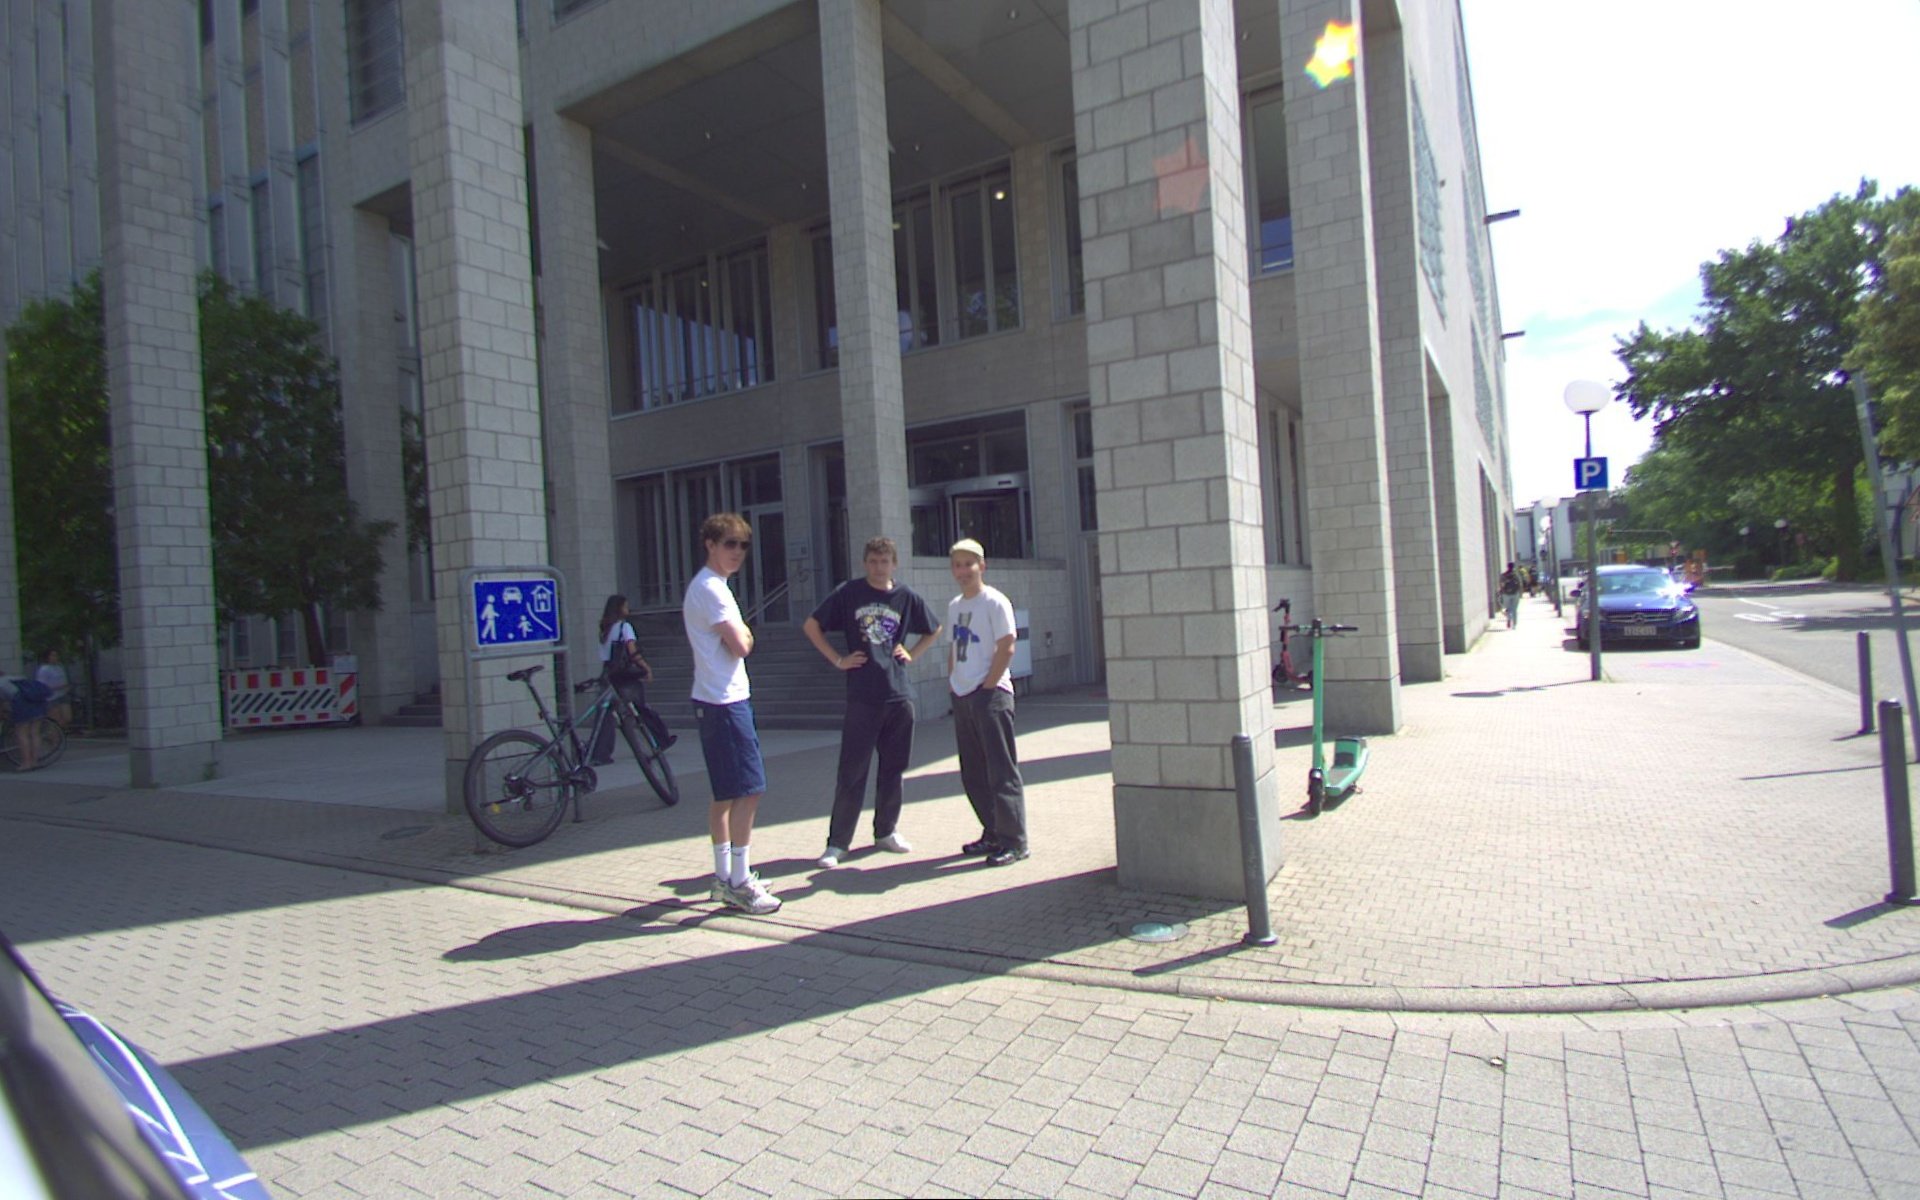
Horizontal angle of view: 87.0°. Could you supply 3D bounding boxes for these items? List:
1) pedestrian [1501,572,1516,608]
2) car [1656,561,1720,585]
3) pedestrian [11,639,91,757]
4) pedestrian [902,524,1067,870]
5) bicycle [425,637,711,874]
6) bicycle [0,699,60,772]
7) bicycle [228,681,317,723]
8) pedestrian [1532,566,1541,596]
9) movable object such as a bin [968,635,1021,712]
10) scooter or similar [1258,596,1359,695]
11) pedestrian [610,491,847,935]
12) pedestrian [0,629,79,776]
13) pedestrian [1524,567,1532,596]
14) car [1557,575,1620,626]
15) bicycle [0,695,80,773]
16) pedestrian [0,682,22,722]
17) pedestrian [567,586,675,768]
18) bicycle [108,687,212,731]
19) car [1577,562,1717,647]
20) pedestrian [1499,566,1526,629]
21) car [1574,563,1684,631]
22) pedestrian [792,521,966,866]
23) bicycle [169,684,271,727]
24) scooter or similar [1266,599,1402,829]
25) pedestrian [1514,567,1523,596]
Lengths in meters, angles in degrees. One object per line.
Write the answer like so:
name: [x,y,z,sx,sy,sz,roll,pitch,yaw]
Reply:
pedestrian: [22.323,-0.402,41.158,0.464,1.419,0.459,-1,0,36]
car: [56.407,-2.083,78.508,3.660,1.460,1.787,-7,-2,29]
pedestrian: [-14.418,1.531,16.048,0.936,1.753,0.739,-5,-1,39]
pedestrian: [0.139,0.496,5.483,0.612,1.742,0.537,-4,-1,32]
bicycle: [-2.534,0.941,6.784,0.529,1.251,1.812,-4,0,29]
bicycle: [-13.082,1.840,13.375,1.749,0.906,0.449,-2,-2,-42]
bicycle: [-13.871,2.046,20.412,1.980,0.765,0.637,-3,-2,28]
pedestrian: [32.187,-1.042,56.486,0.382,1.642,0.514,-1,0,31]
movable object such as a bin: [0.458,0.952,13.309,0.511,0.956,0.507,-1,0,29]
scooter or similar: [4.712,0.583,13.795,0.556,1.220,1.514,-4,1,-10]
pedestrian: [-1.079,0.494,4.791,0.684,1.905,0.680,-5,0,27]
pedestrian: [-11.900,1.283,12.734,0.928,1.753,0.746,-4,-1,11]
pedestrian: [31.816,-1.039,56.708,0.382,1.642,0.514,-1,0,31]
car: [22.584,0.011,36.473,1.793,1.714,3.959,-1,0,30]
bicycle: [-12.409,1.764,12.880,0.336,0.906,1.755,-5,-1,35]
pedestrian: [-44.897,4.807,47.630,0.958,1.777,0.746,-1,0,-34]
pedestrian: [-3.396,0.755,10.176,0.684,1.747,0.682,-4,-1,16]
bicycle: [-15.204,2.074,19.230,1.975,0.765,0.639,-3,-2,21]
car: [12.709,0.086,18.932,1.837,1.408,3.838,-2,-1,30]
pedestrian: [14.190,-0.057,25.982,0.548,1.592,0.600,-2,-1,27]
car: [15.401,-0.053,23.478,1.837,1.408,3.838,-2,-1,30]
pedestrian: [-0.483,0.495,5.800,0.796,1.810,0.622,-3,0,-13]
bicycle: [-14.457,2.054,19.763,1.975,0.765,0.639,-3,-2,21]
scooter or similar: [2.367,0.626,6.307,0.562,1.221,1.496,-1,1,29]
pedestrian: [31.422,-1.035,56.955,0.440,1.642,0.564,-1,0,31]
